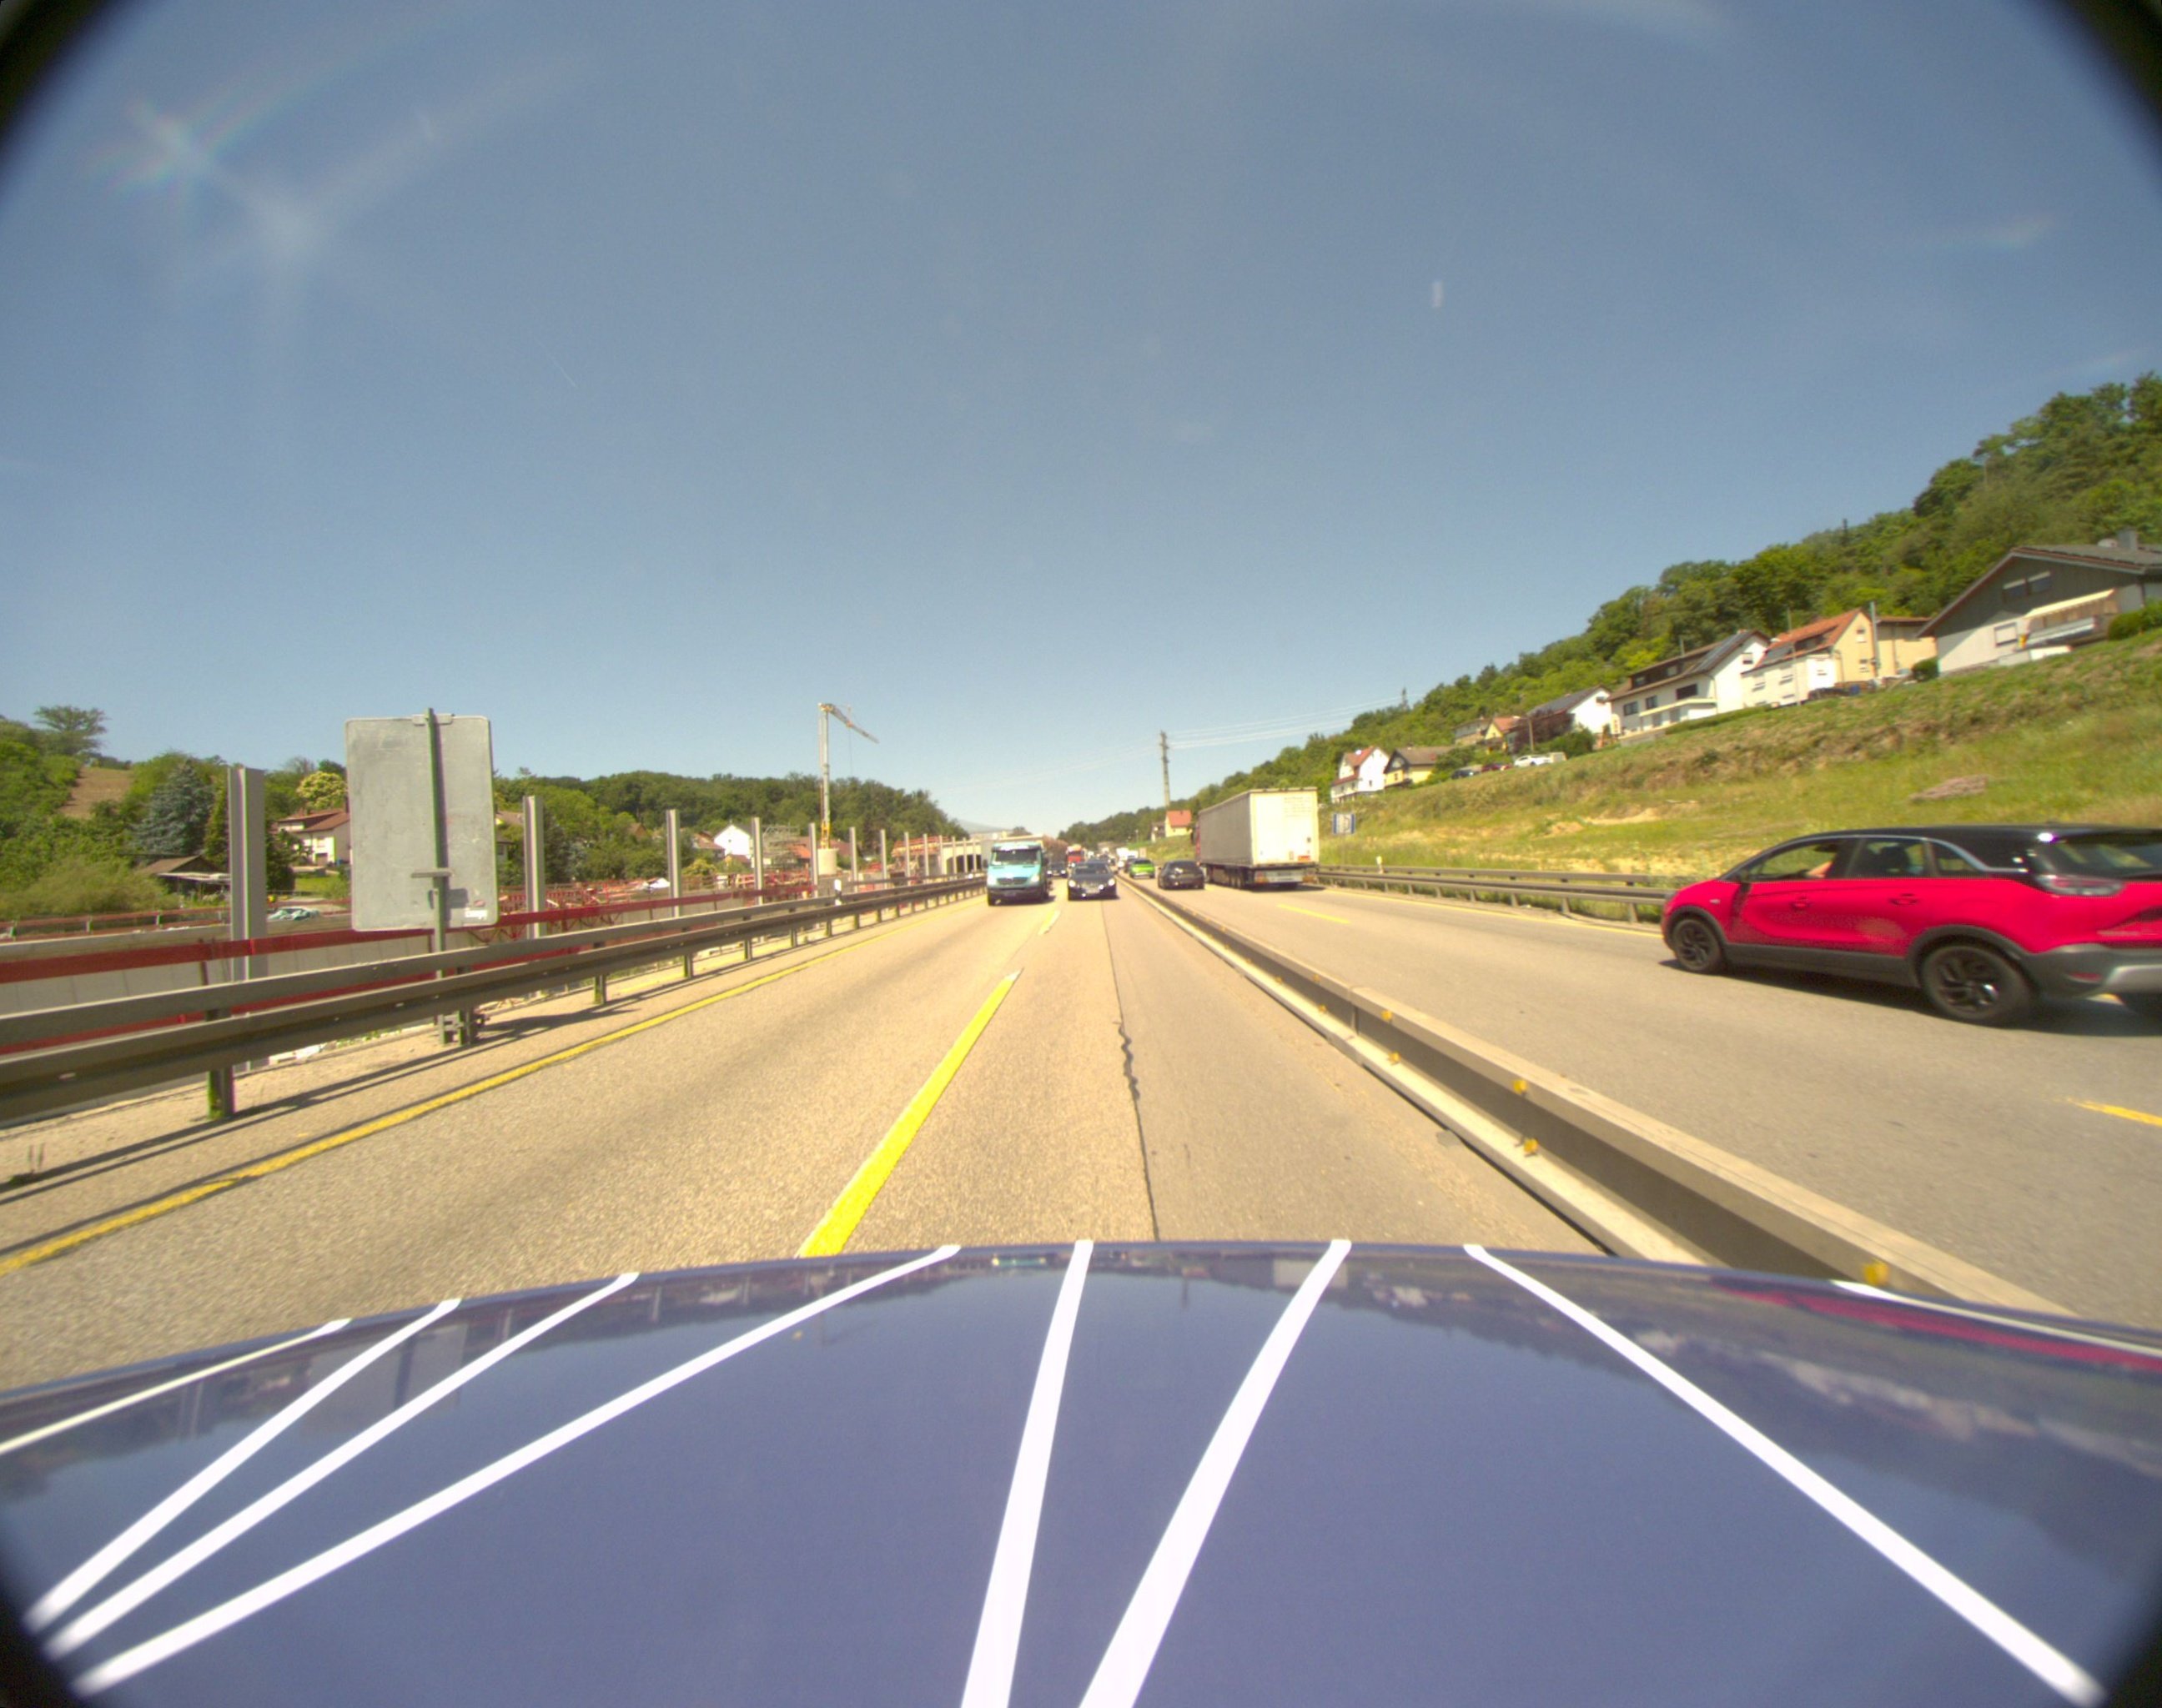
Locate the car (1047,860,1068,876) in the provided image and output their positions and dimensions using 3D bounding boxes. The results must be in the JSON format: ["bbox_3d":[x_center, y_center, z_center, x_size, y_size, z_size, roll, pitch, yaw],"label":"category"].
[{"bbox_3d":[-2.026,1.200,66.720,1.611,1.324,3.496,-2,0,1],"label":"car"}]

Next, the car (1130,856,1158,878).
[{"bbox_3d":[4.672,0.928,56.881,1.758,1.499,4.000,-4,0,1],"label":"car"}]

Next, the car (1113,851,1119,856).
[{"bbox_3d":[11.670,-0.222,256.463,1.780,1.652,3.576,-2,0,1],"label":"car"}]

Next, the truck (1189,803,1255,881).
[{"bbox_3d":[7.928,-0.659,43.186,2.828,4.100,4.598,-2,0,1],"label":"truck"}]

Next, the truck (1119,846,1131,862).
[{"bbox_3d":[10.047,0.013,174.651,2.385,3.412,9.307,1,0,2],"label":"truck"}]

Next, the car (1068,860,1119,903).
[{"bbox_3d":[0.471,0.966,28.191,1.746,1.420,4.000,-1,0,1],"label":"car"}]

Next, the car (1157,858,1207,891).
[{"bbox_3d":[4.651,0.898,35.580,1.772,1.355,4.411,-2,0,1],"label":"car"}]

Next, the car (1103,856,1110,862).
[{"bbox_3d":[6.229,1.208,187.418,1.601,1.499,3.162,-4,0,1],"label":"car"}]

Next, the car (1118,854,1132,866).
[{"bbox_3d":[5.746,0.818,100.218,1.677,1.468,4.541,-1,0,2],"label":"car"}]

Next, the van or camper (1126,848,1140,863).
[{"bbox_3d":[9.554,0.316,140.039,2.382,2.634,6.052,-2,0,1],"label":"van or camper"}]

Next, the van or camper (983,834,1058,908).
[{"bbox_3d":[-2.207,0.587,29.954,2.097,2.458,7.671,-2,0,1],"label":"van or camper"}]

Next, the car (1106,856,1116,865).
[{"bbox_3d":[5.612,1.190,143.311,1.660,1.420,3.176,-7,0,1],"label":"car"}]

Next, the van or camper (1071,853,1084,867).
[{"bbox_3d":[-0.611,1.196,147.018,2.321,2.513,4.528,-4,0,1],"label":"van or camper"}]

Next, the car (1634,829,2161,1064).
[{"bbox_3d":[7.639,0.602,7.188,1.721,1.542,4.264,-2,0,0],"label":"car"}]

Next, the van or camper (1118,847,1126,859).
[{"bbox_3d":[9.912,-0.296,185.232,1.566,2.744,5.182,-4,0,1],"label":"van or camper"}]

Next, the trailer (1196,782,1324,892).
[{"bbox_3d":[7.844,-0.633,35.691,2.864,4.100,13.437,-2,0,1],"label":"trailer"}]

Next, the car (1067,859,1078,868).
[{"bbox_3d":[-1.439,1.602,131.690,1.679,1.346,3.486,-4,0,1],"label":"car"}]

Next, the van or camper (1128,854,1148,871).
[{"bbox_3d":[5.890,0.896,78.570,1.832,1.658,3.888,-2,0,1],"label":"van or camper"}]
